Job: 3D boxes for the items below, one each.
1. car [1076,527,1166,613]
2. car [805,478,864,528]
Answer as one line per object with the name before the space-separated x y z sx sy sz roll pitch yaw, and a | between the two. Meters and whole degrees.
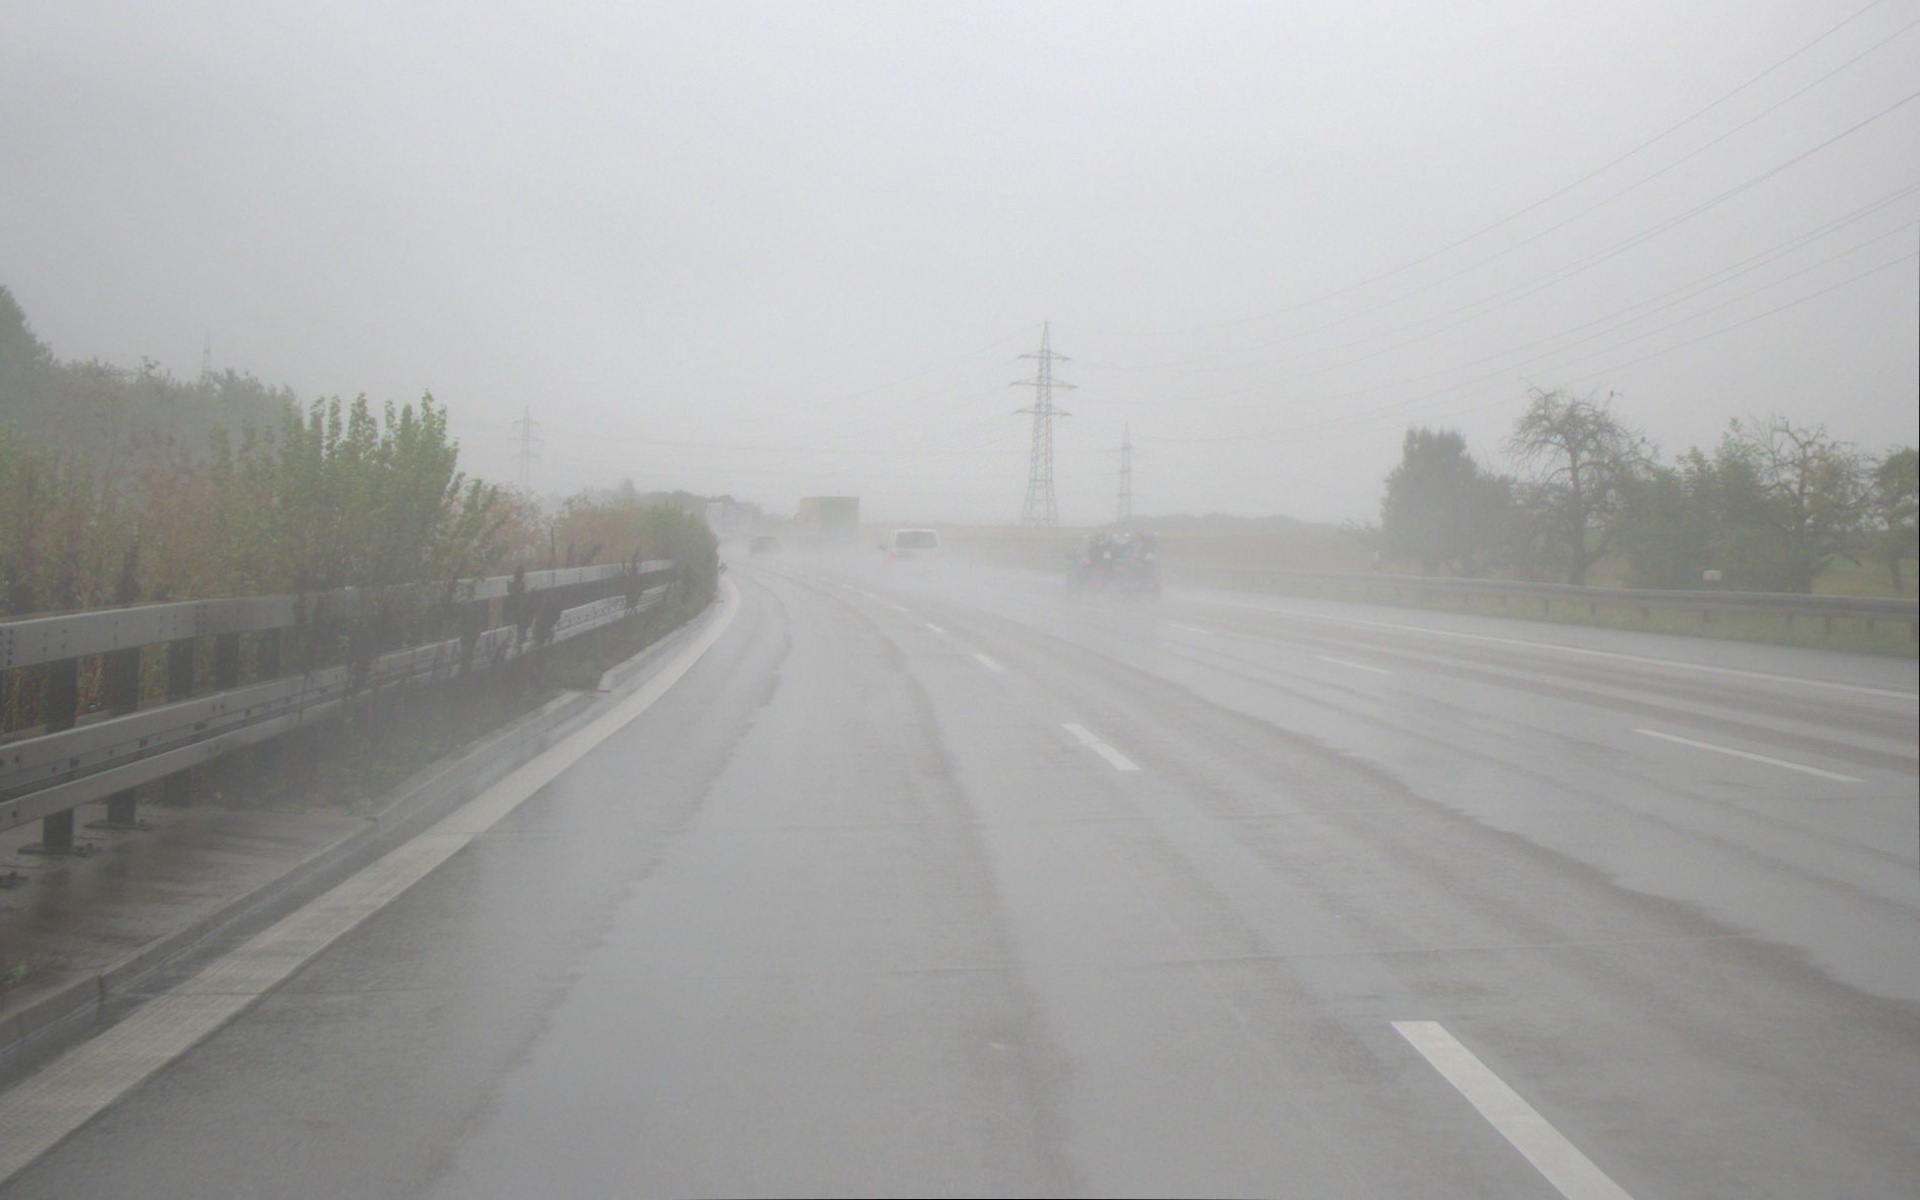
car | 4.165 -0.804 89.538 1.806 2.151 4.001 1 1 -5
car | -8.260 -6.340 225.800 3.199 3.182 7.259 1 1 -8
